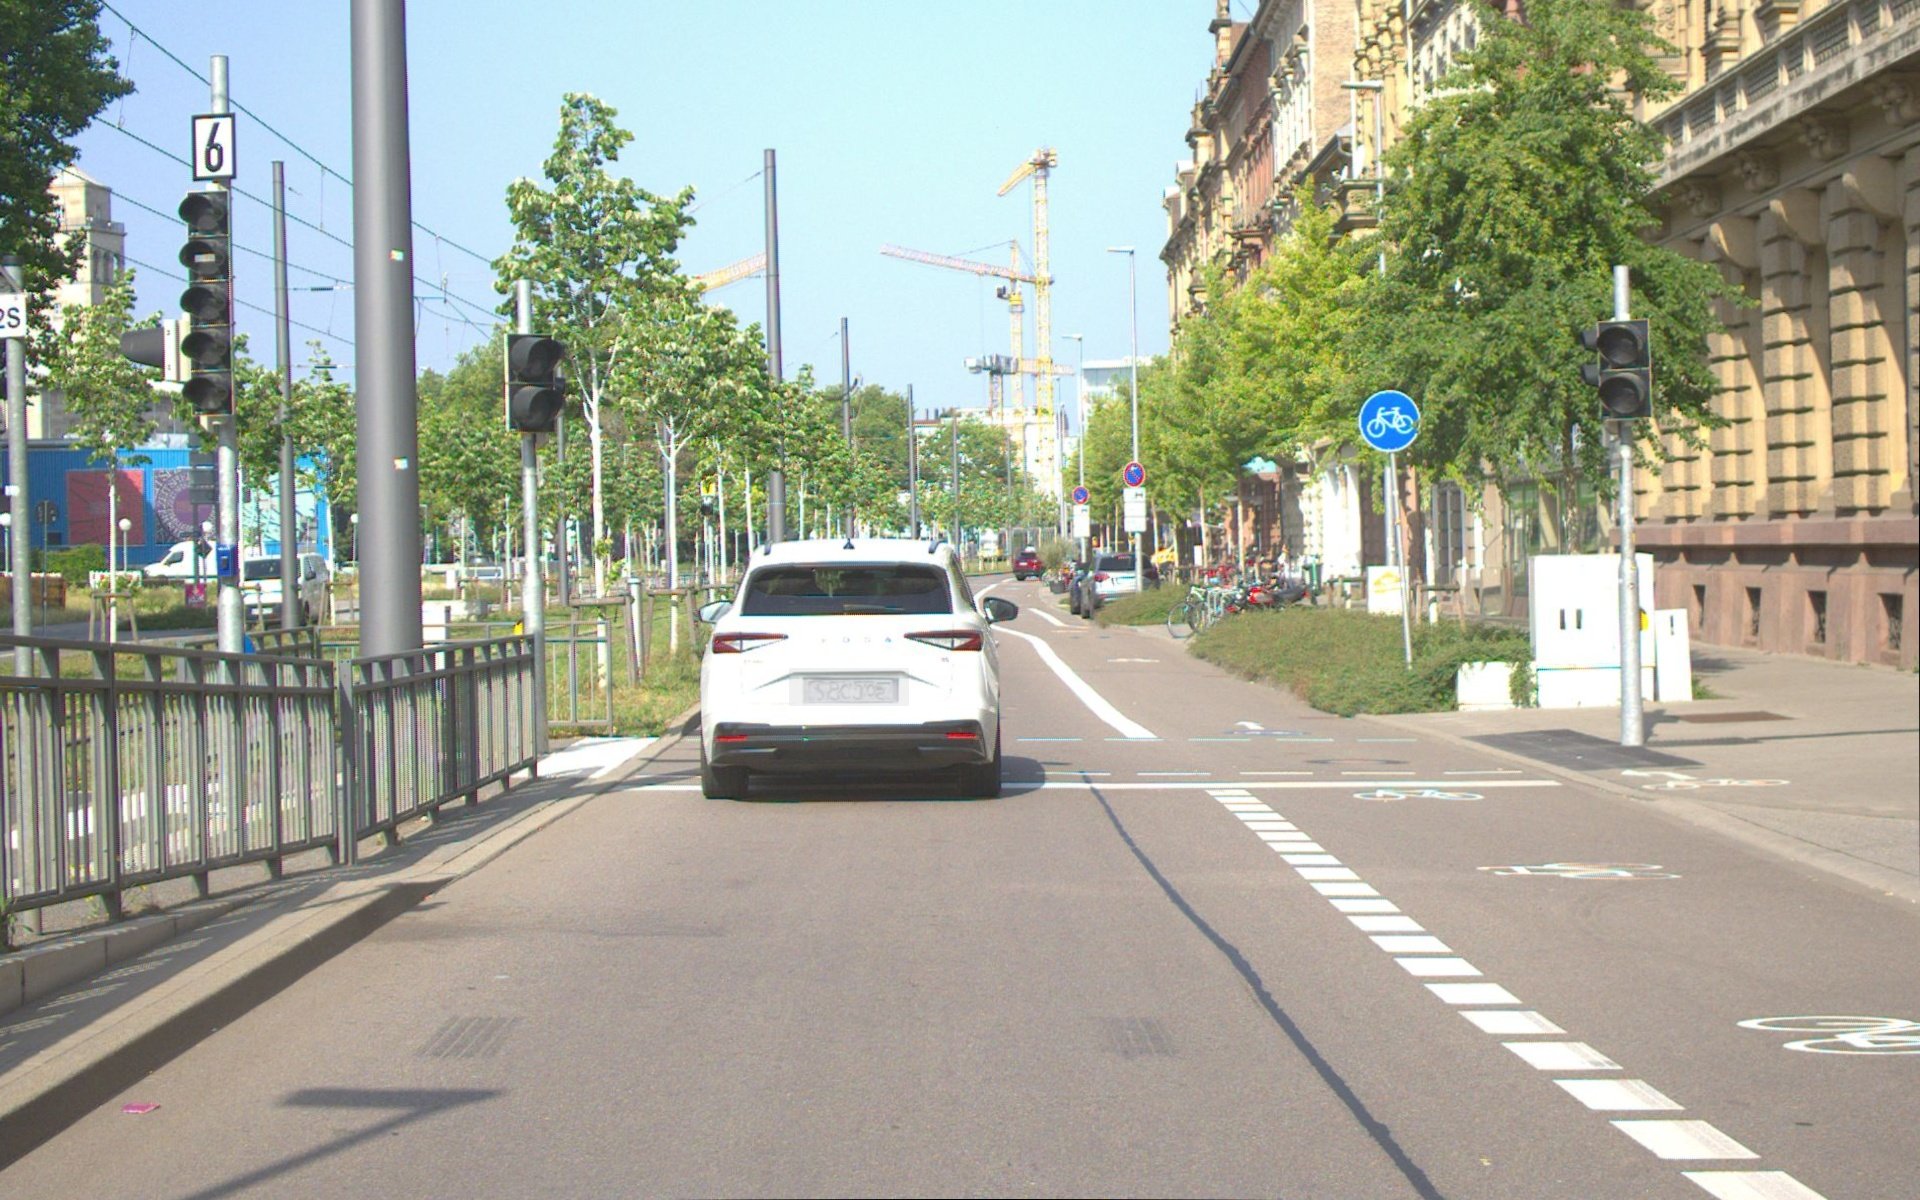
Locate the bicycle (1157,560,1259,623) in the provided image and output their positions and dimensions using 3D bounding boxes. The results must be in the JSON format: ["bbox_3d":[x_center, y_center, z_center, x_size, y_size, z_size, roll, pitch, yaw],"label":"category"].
[{"bbox_3d":[4.517,-0.151,62.696,1.784,1.050,0.373,-3,1,-1],"label":"bicycle"}]

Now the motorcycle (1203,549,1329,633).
[{"bbox_3d":[5.101,-0.154,57.296,2.035,1.282,0.705,-4,2,-32],"label":"motorcycle"}]

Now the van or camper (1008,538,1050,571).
[{"bbox_3d":[3.570,-2.370,177.931,1.993,1.649,4.000,-2,1,0],"label":"van or camper"}]

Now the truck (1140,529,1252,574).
[{"bbox_3d":[12.620,-2.585,184.018,5.871,2.310,2.220,-1,1,4],"label":"truck"}]

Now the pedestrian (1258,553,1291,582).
[{"bbox_3d":[9.814,-1.013,107.190,0.877,0.873,0.711,-3,1,-3],"label":"pedestrian"}]

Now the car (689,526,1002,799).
[{"bbox_3d":[-0.662,0.329,22.244,1.817,1.584,4.407,0,1,0],"label":"car"}]

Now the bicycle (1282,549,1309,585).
[{"bbox_3d":[10.061,-0.988,103.127,0.450,1.079,1.449,-1,1,-9],"label":"bicycle"}]

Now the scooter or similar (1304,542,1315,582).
[{"bbox_3d":[9.934,-1.088,97.655,0.289,1.130,1.088,-1,1,6],"label":"scooter or similar"}]

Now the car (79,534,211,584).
[{"bbox_3d":[-45.333,-2.261,191.248,6.872,2.629,2.515,1,0,-20],"label":"car"}]

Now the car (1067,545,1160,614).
[{"bbox_3d":[3.733,-0.522,84.255,1.769,1.583,4.248,-2,1,-3],"label":"car"}]

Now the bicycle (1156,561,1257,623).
[{"bbox_3d":[4.519,-0.156,63.113,1.784,1.050,0.373,-3,1,-1],"label":"bicycle"}]

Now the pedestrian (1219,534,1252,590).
[{"bbox_3d":[8.497,-1.173,106.071,0.823,1.691,0.793,-3,1,-4],"label":"pedestrian"}]

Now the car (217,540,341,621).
[{"bbox_3d":[-16.821,-0.501,85.149,1.993,1.888,5.046,-1,1,1],"label":"car"}]

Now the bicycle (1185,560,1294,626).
[{"bbox_3d":[4.986,-0.131,61.457,1.806,1.092,0.672,-3,1,-5],"label":"bicycle"}]
